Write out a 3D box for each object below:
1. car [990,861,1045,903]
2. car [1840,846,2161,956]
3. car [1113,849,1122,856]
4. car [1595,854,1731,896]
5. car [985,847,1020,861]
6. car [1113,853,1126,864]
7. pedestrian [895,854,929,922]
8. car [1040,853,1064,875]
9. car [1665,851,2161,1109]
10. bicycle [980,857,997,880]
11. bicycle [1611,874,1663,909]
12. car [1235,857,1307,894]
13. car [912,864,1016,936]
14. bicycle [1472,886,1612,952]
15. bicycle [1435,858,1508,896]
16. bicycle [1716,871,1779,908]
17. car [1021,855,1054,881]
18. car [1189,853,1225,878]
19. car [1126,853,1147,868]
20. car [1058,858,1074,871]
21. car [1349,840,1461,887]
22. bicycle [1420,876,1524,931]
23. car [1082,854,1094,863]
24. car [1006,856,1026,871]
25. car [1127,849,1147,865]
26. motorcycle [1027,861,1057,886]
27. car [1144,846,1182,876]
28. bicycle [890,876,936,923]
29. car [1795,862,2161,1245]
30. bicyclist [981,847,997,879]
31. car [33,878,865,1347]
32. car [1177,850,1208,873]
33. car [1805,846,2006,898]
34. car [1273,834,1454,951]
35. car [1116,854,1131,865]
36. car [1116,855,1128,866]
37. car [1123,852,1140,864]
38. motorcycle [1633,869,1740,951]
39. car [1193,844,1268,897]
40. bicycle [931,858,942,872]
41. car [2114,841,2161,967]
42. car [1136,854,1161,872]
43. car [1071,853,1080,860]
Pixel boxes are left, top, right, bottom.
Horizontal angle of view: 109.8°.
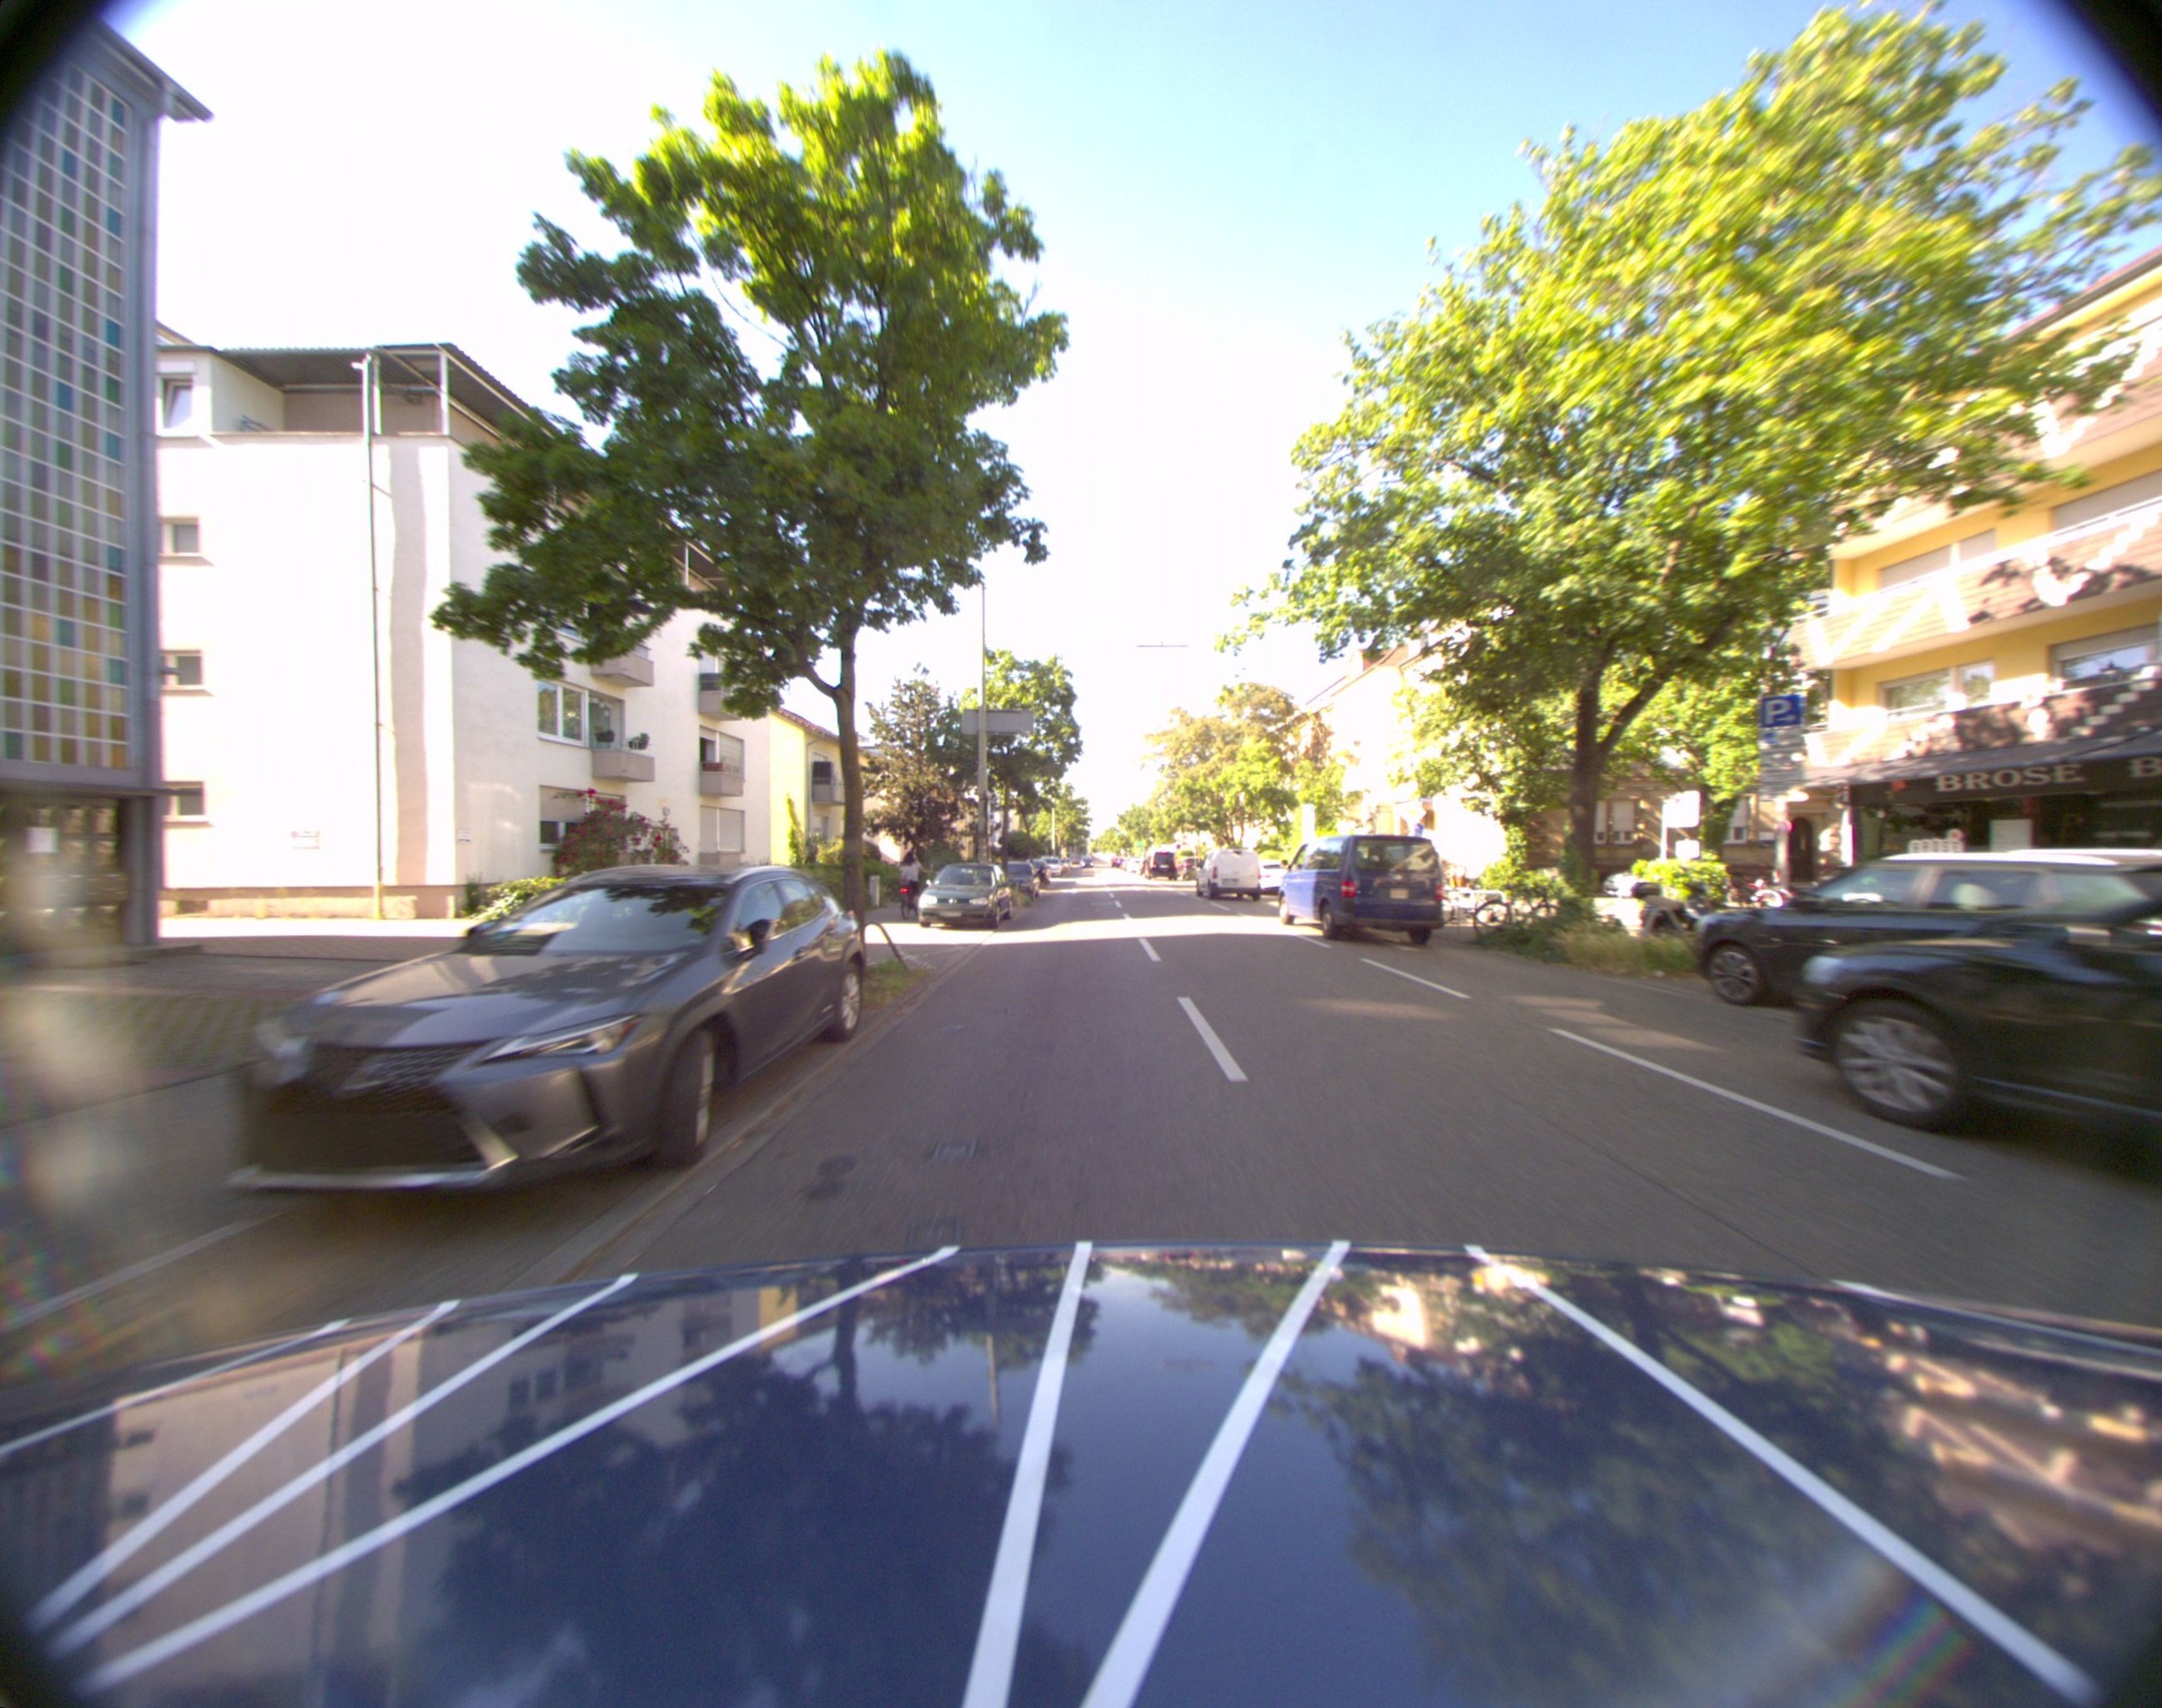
[{"bbox_3d":[-2.361,1.011,29.215,1.590,1.388,4.454,1,0,1],"label":"car"},{"bbox_3d":[14.230,0.657,11.153,3.991,1.447,1.735,-1,0,19],"label":"car"},{"bbox_3d":[7.466,-0.359,155.795,1.702,1.398,4.505,2,0,0],"label":"car"},{"bbox_3d":[21.666,0.764,28.379,3.792,1.480,1.646,0,2,0],"label":"car"},{"bbox_3d":[-9.688,-0.004,93.785,3.997,1.433,1.831,3,1,0],"label":"car"},{"bbox_3d":[5.322,0.610,105.949,1.660,1.508,4.076,2,0,0],"label":"car"},{"bbox_3d":[-4.289,0.850,19.316,0.671,1.672,0.776,0,1,0],"label":"pedestrian"},{"bbox_3d":[-2.302,0.773,60.748,1.773,1.649,4.340,1,0,-1],"label":"car"},{"bbox_3d":[7.707,0.797,6.804,1.726,1.587,4.135,-2,0,-1],"label":"car"},{"bbox_3d":[-5.200,0.785,42.874,0.699,1.239,1.822,1,0,1],"label":"bicycle"},{"bbox_3d":[16.000,1.062,21.906,0.404,0.954,1.760,0,-1,7],"label":"bicycle"},{"bbox_3d":[7.972,0.848,32.297,1.838,1.381,4.802,-2,0,0],"label":"car"},{"bbox_3d":[-2.639,0.995,18.007,1.696,1.419,4.147,0,0,2],"label":"car"},{"bbox_3d":[7.975,1.112,13.245,2.025,1.085,0.463,-1,0,23],"label":"bicycle"},{"bbox_3d":[14.456,0.817,28.109,3.180,1.255,0.949,-2,3,-34],"label":"bicycle"},{"bbox_3d":[18.844,0.984,21.517,0.404,0.974,1.760,0,-1,7],"label":"bicycle"},{"bbox_3d":[-2.588,0.831,45.697,1.624,1.490,3.649,0,0,2],"label":"car"},{"bbox_3d":[7.960,0.689,48.297,1.641,1.408,4.089,-2,0,1],"label":"car"},{"bbox_3d":[5.410,0.599,74.255,1.737,1.404,4.192,2,0,0],"label":"car"},{"bbox_3d":[-1.643,1.173,84.795,1.653,1.395,3.969,1,0,-1],"label":"car"},{"bbox_3d":[13.805,0.388,32.404,4.333,1.868,1.876,-1,0,-23],"label":"car"},{"bbox_3d":[8.374,1.051,16.330,1.932,1.128,0.463,-1,0,28],"label":"bicycle"},{"bbox_3d":[1.086,0.678,111.547,1.654,1.348,4.304,0,0,1],"label":"car"},{"bbox_3d":[-6.177,0.885,72.149,1.535,1.348,3.717,2,0,0],"label":"car"},{"bbox_3d":[6.022,0.317,81.976,1.841,1.604,4.400,2,0,0],"label":"car"},{"bbox_3d":[-2.132,1.068,41.495,0.701,1.264,2.426,1,0,-27],"label":"motorcycle"},{"bbox_3d":[5.565,0.461,52.304,2.021,1.940,5.178,1,0,0],"label":"car"},{"bbox_3d":[-4.287,1.132,19.559,0.684,1.063,2.127,0,0,1],"label":"bicycle"},{"bbox_3d":[5.352,0.869,2.573,1.723,1.557,4.342,2,0,0],"label":"car"},{"bbox_3d":[-5.173,0.518,42.854,0.726,1.783,1.015,1,1,1],"label":"bicyclist"},{"bbox_3d":[-2.793,0.968,4.767,1.718,1.480,4.233,0,0,-1],"label":"car"},{"bbox_3d":[8.232,0.545,56.573,1.629,1.579,4.347,-2,0,0],"label":"car"},{"bbox_3d":[23.629,0.524,21.869,3.997,1.433,1.647,0,-1,0],"label":"car"},{"bbox_3d":[5.319,0.633,15.073,1.807,1.900,4.711,2,0,0],"label":"car"},{"bbox_3d":[5.598,0.745,99.658,1.639,1.395,3.735,1,0,-2],"label":"car"},{"bbox_3d":[6.584,1.063,121.364,1.726,1.607,4.300,2,0,1],"label":"car"},{"bbox_3d":[5.902,0.440,89.082,1.585,1.443,3.744,0,0,-2],"label":"car"},{"bbox_3d":[9.159,0.812,11.569,0.461,1.119,1.718,-1,0,8],"label":"motorcycle"},{"bbox_3d":[5.362,0.559,27.879,1.820,1.733,4.492,2,0,0],"label":"car"},{"bbox_3d":[-11.036,0.802,58.138,0.456,0.987,1.743,2,2,0],"label":"bicycle"},{"bbox_3d":[14.402,0.534,8.062,3.994,1.452,1.734,-1,0,9],"label":"car"},{"bbox_3d":[5.642,0.733,64.220,1.696,1.445,4.173,2,0,0],"label":"car"},{"bbox_3d":[-1.146,0.496,162.899,1.822,1.542,4.304,0,0,1],"label":"car"}]
